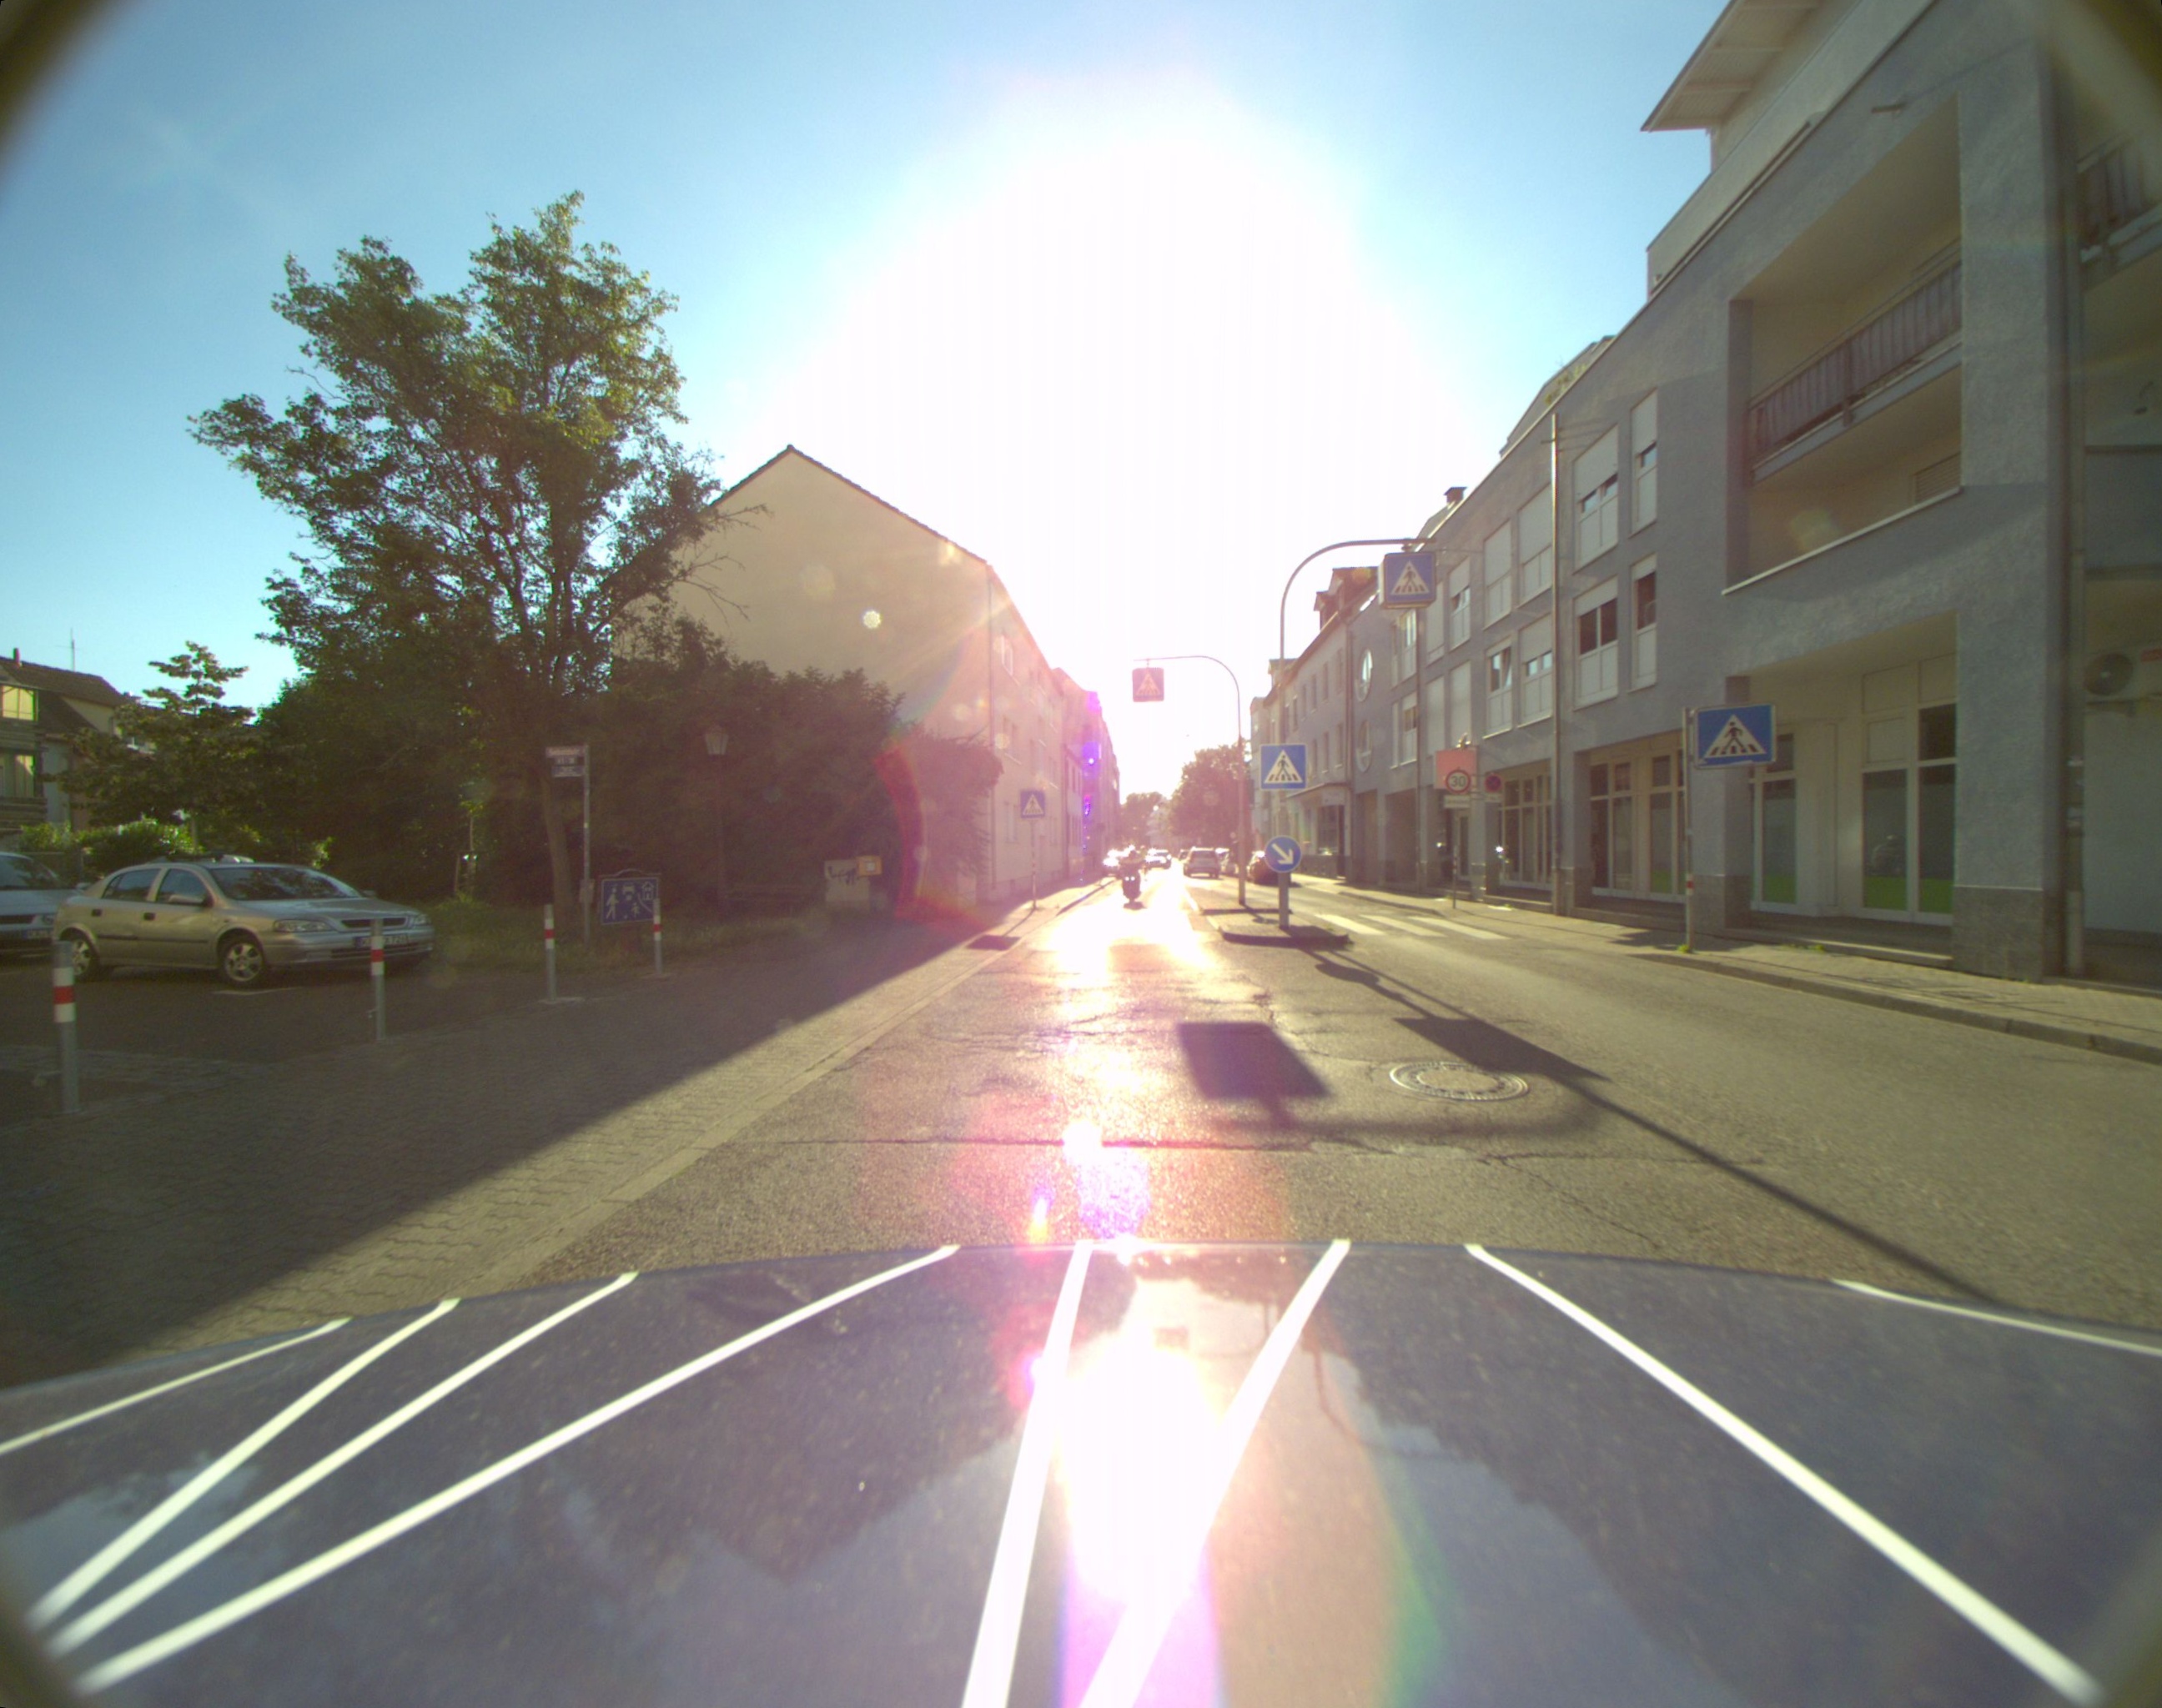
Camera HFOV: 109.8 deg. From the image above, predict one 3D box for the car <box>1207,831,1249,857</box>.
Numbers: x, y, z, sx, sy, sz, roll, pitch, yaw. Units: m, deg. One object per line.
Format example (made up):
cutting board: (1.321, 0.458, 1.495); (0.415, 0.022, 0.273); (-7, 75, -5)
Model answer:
car: (10.038, -0.710, 52.251); (1.998, 1.638, 5.221); (-3, 1, 2)

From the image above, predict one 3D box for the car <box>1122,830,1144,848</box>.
car: (4.840, -1.396, 70.029); (1.858, 1.627, 4.624); (0, 1, 5)

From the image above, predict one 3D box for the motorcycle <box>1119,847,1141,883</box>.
motorcycle: (1.457, 0.312, 22.886); (0.598, 1.004, 1.821); (-2, 2, 3)

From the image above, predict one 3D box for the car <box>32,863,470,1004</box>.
car: (-10.078, 0.855, 9.362); (3.960, 1.412, 1.904); (0, 1, 13)

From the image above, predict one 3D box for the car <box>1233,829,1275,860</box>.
car: (9.387, -0.544, 41.452); (1.664, 1.517, 3.809); (-3, 1, 5)

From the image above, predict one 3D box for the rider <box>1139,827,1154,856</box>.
rider: (3.716, -0.713, 43.135); (0.655, 1.553, 1.083); (-5, 3, 3)

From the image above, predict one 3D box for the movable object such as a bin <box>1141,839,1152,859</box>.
movable object such as a bin: (3.701, -0.284, 43.214); (0.455, 1.027, 1.840); (-5, 3, 3)

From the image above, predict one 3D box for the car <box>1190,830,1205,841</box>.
car: (16.494, -2.635, 107.957); (1.700, 1.483, 3.999); (-2, 2, 3)

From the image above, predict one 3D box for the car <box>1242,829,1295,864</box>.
car: (8.761, -0.368, 35.800); (1.734, 1.491, 3.959); (-2, 1, 4)

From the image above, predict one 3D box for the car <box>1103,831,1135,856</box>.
car: (2.390, -0.681, 46.772); (1.745, 1.483, 4.439); (-1, 2, 6)

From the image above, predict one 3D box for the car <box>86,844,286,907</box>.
car: (-28.599, 0.626, 24.496); (1.724, 1.581, 3.748); (-5, 3, 3)

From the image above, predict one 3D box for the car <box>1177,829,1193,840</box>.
car: (17.268, -3.268, 126.191); (1.936, 1.695, 5.100); (-5, 1, 3)

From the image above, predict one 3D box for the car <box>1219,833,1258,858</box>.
car: (9.641, -0.547, 46.773); (1.768, 1.487, 4.126); (0, 1, 3)

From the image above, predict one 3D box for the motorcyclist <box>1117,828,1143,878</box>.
motorcyclist: (1.448, -0.043, 22.662); (0.717, 1.425, 0.746); (-2, 2, 3)

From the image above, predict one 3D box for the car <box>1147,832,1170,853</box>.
car: (6.488, -0.987, 63.868); (1.708, 1.570, 3.915); (-3, 2, 3)

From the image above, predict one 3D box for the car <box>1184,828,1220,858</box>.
car: (6.997, -0.652, 44.364); (1.811, 1.692, 4.192); (0, 1, 5)

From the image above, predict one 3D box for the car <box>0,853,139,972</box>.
car: (-15.981, 0.792, 10.676); (4.026, 1.548, 1.714); (-1, 0, 10)
